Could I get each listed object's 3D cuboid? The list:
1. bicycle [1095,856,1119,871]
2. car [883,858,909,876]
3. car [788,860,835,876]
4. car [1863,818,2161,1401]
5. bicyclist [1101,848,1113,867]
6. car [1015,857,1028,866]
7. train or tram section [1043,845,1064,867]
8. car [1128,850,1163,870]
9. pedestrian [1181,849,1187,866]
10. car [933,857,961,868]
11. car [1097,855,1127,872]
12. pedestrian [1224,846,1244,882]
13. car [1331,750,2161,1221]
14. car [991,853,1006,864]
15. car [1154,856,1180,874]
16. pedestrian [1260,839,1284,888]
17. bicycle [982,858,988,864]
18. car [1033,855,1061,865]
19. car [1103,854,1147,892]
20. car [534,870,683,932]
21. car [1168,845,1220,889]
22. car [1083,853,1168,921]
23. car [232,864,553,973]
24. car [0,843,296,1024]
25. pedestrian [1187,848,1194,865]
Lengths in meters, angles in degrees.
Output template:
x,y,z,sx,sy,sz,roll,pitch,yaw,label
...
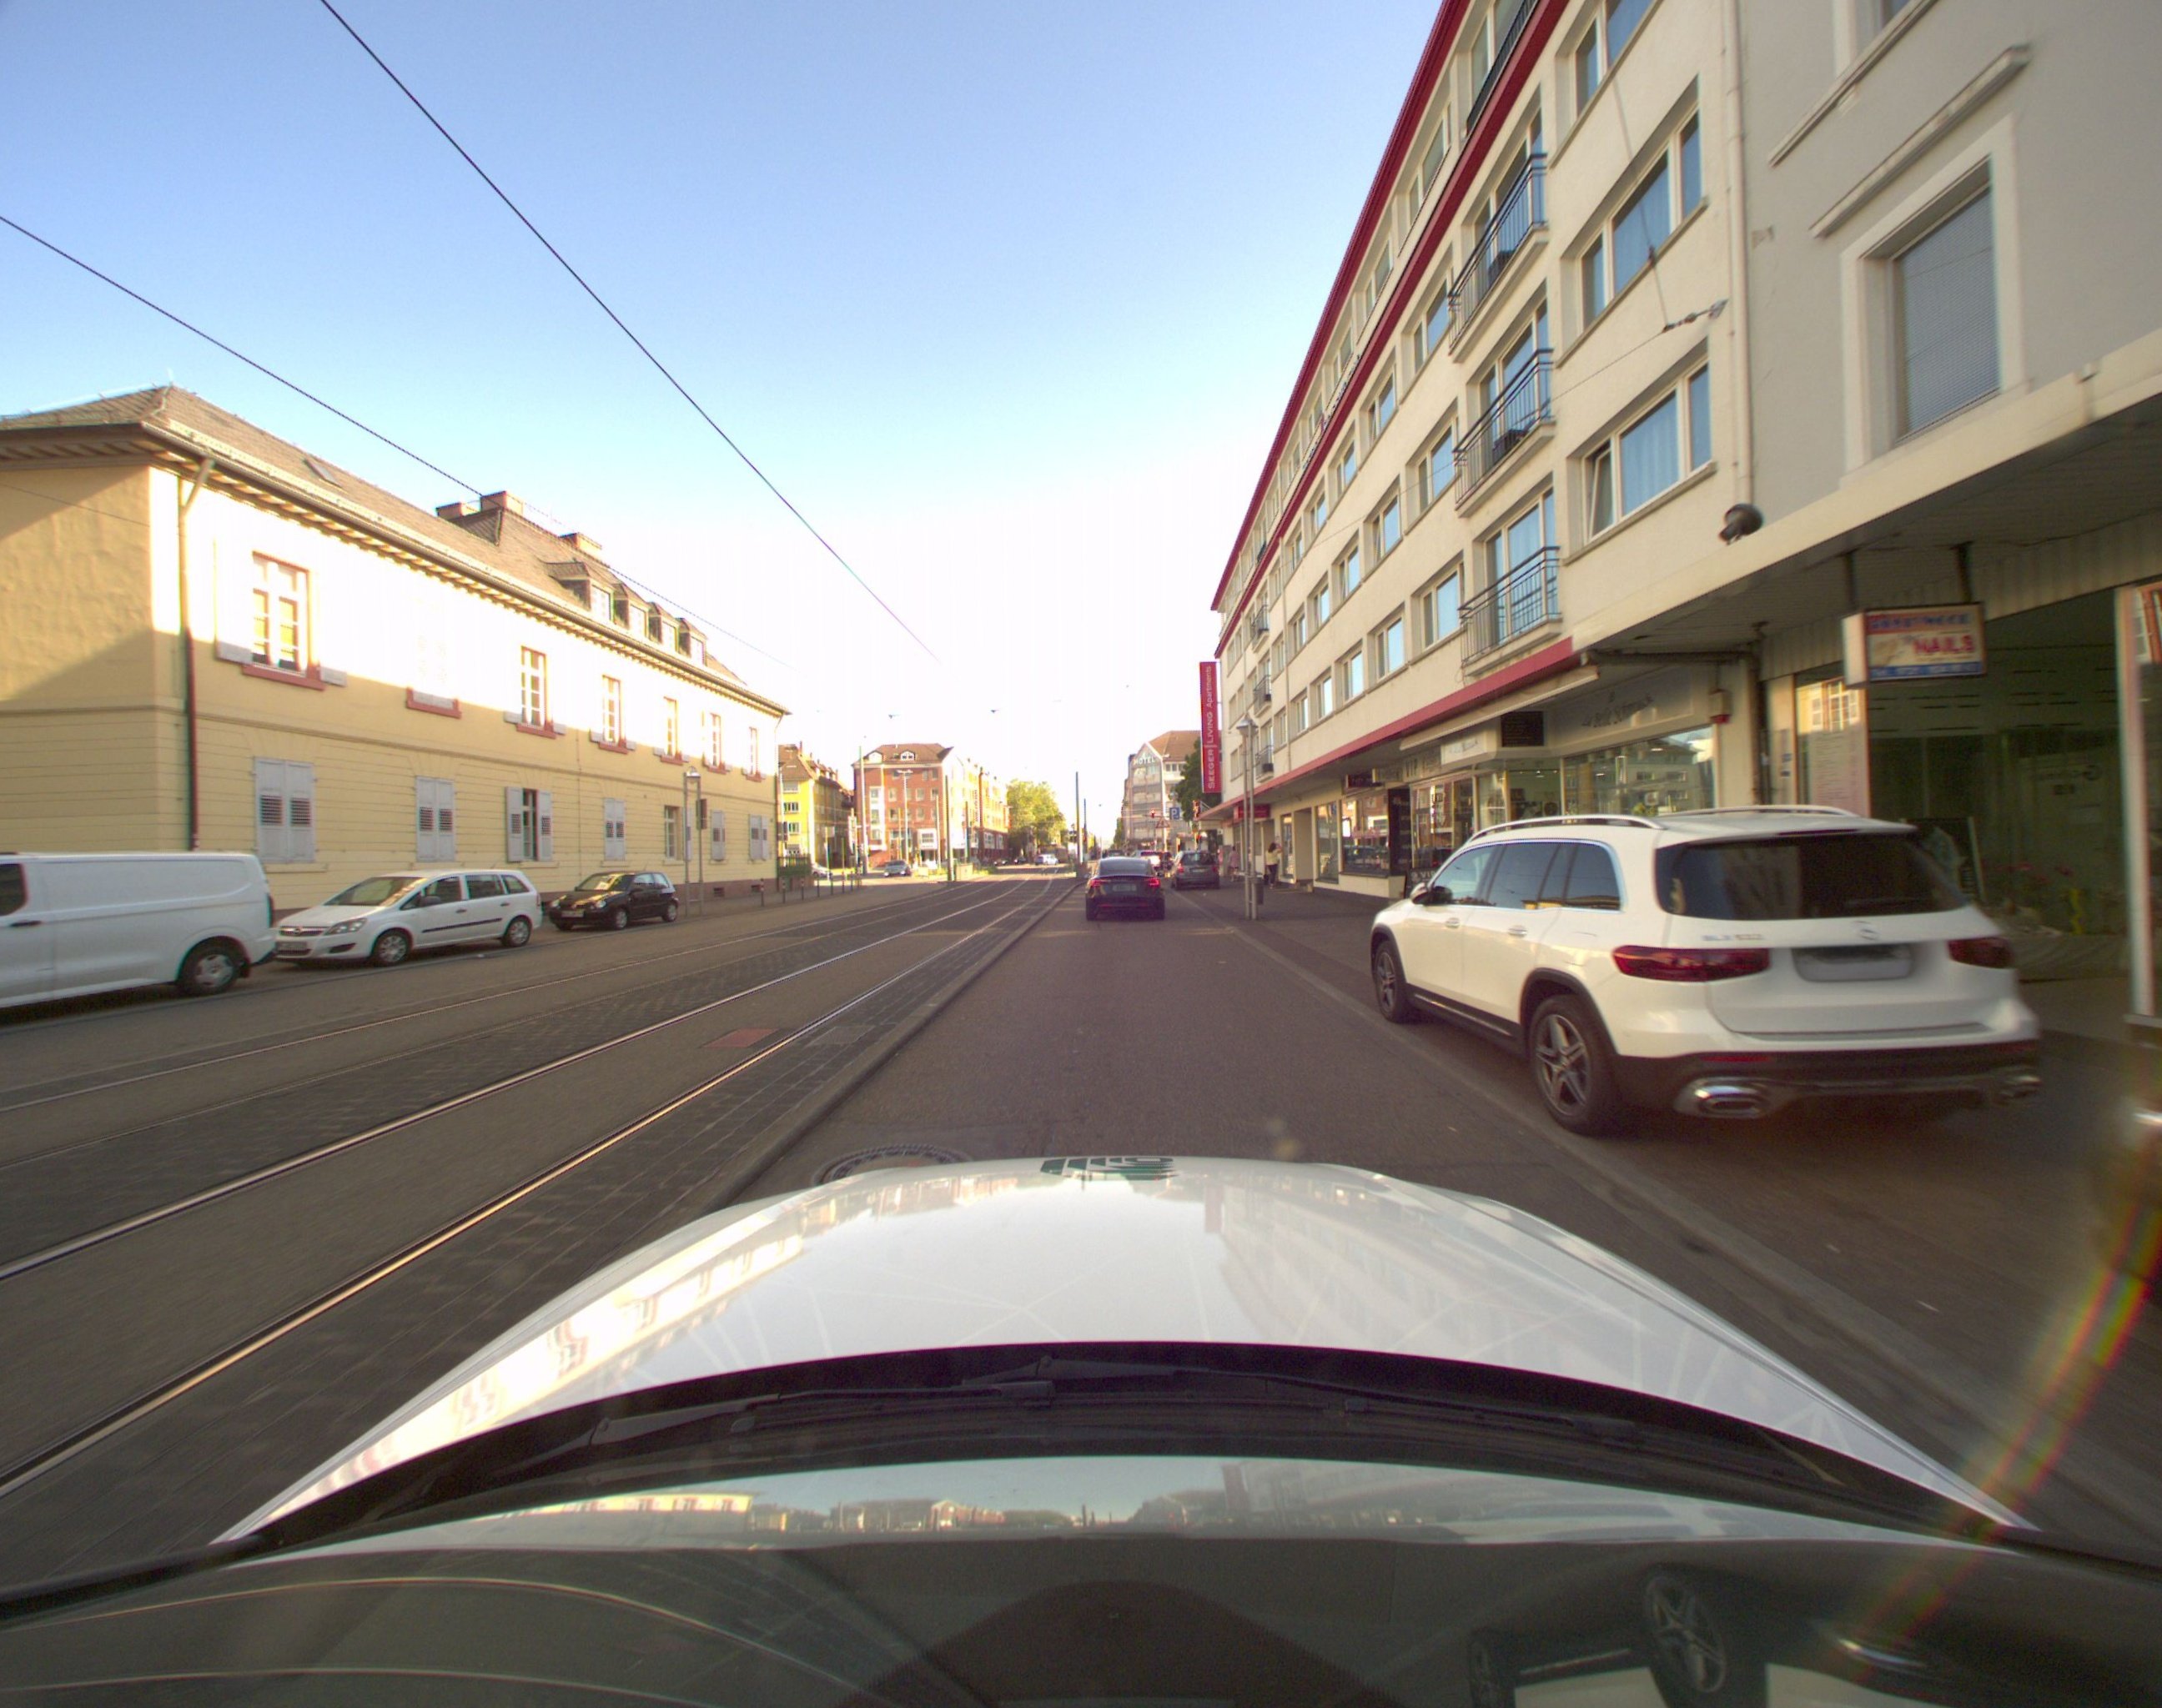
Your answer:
x,y,z,sx,sy,sz,roll,pitch,yaw,label
1.996,0.727,62.472,1.725,1.088,0.677,0,-1,-6,bicycle
-16.234,1.115,71.642,1.881,1.495,4.912,-2,0,-10,car
-27.701,1.460,83.776,4.551,1.556,1.826,0,0,26,car
3.573,0.634,0.865,1.608,1.528,4.072,-2,0,2,car
1.986,0.268,62.394,0.835,1.500,0.559,1,-1,-6,bicyclist
-10.778,1.367,147.486,1.744,1.651,4.003,0,0,3,car
-4.863,0.421,148.459,2.663,3.715,14.202,0,0,3,train or tram section
4.975,0.469,63.229,1.782,1.519,4.206,1,0,-8,car
10.236,0.363,81.063,0.559,1.683,0.751,0,0,7,pedestrian
-19.429,1.246,118.094,3.950,1.470,2.012,0,-1,44,car
2.747,0.831,72.603,1.825,1.519,4.203,1,0,-10,car
7.297,0.473,38.838,0.810,1.683,0.719,0,-1,25,pedestrian
3.453,0.523,5.748,1.842,1.724,5.195,-3,0,2,car
-14.576,0.794,144.371,1.985,2.013,4.003,-2,0,3,car
7.688,0.964,72.992,1.820,1.519,3.645,0,0,-3,car
7.168,0.353,30.539,0.797,1.774,0.936,-2,-1,16,pedestrian
-16.555,1.205,139.926,0.699,0.855,2.054,-2,0,2,bicycle
-4.788,0.813,114.039,1.974,1.420,4.025,0,0,33,car
1.786,0.720,33.016,1.646,1.418,4.003,0,1,3,car
-12.217,1.166,21.338,1.608,1.400,3.721,0,0,2,car
4.637,0.513,33.737,1.738,1.632,3.651,-3,0,3,car
1.019,0.735,19.694,1.842,1.484,3.788,0,0,1,car
-12.501,1.059,15.320,1.799,1.685,4.654,0,0,5,car
-12.760,0.866,9.576,1.986,1.975,5.098,0,0,2,car
10.556,0.273,78.747,0.626,1.613,0.644,0,0,6,pedestrian
